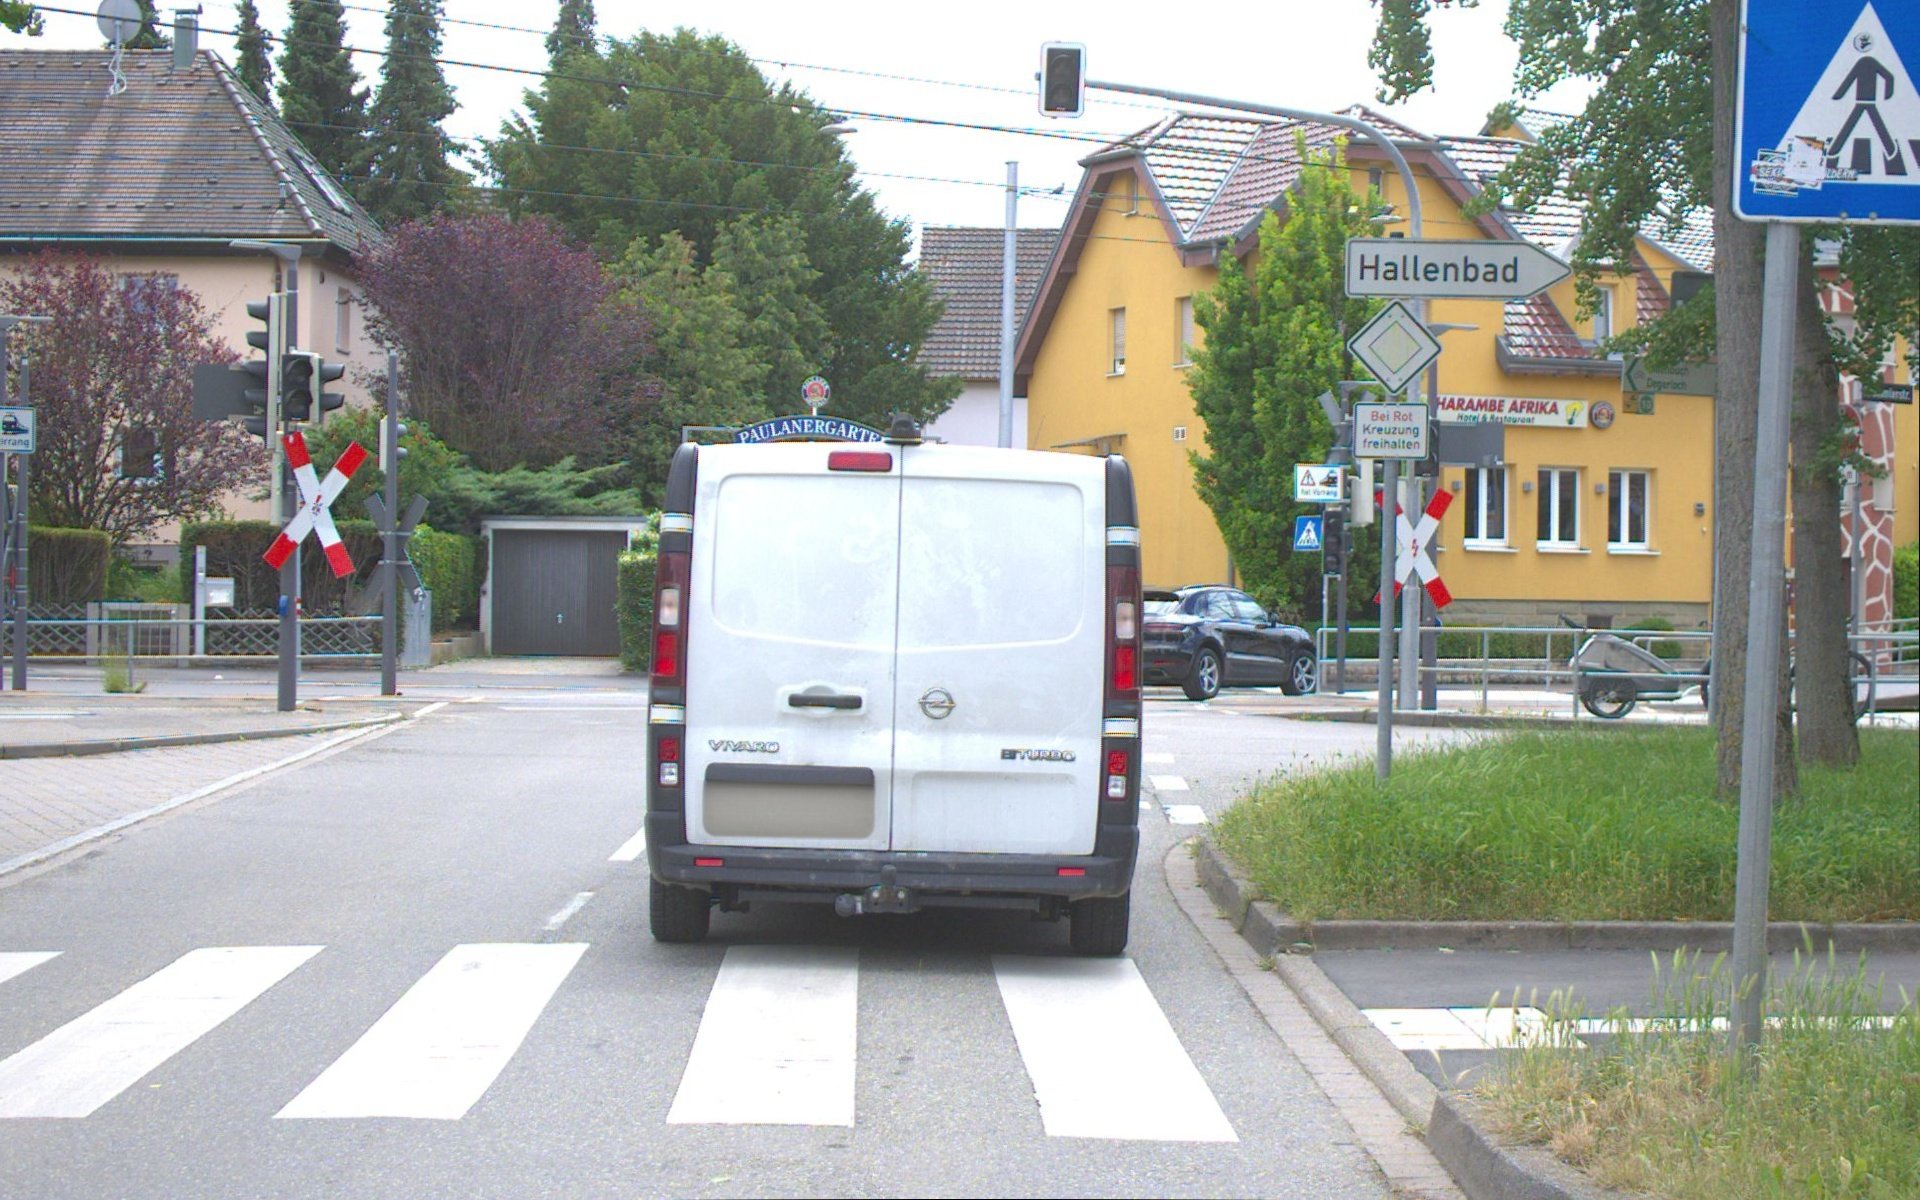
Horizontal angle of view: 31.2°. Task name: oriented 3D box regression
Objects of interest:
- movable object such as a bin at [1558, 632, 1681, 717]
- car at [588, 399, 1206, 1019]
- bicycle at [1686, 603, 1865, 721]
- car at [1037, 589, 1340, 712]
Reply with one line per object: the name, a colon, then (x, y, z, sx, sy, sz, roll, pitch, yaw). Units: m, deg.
movable object such as a bin: (6.630, 0.743, 34.586, 1.091, 0.822, 0.579, 1, 0, -5)
car: (-0.333, 0.366, 14.841, 2.116, 2.127, 5.441, 2, 0, -2)
bicycle: (8.221, 0.623, 34.653, 1.686, 1.152, 0.467, 1, 0, -8)
car: (3.259, 0.710, 48.309, 2.360, 1.559, 4.364, 3, 0, 33)
